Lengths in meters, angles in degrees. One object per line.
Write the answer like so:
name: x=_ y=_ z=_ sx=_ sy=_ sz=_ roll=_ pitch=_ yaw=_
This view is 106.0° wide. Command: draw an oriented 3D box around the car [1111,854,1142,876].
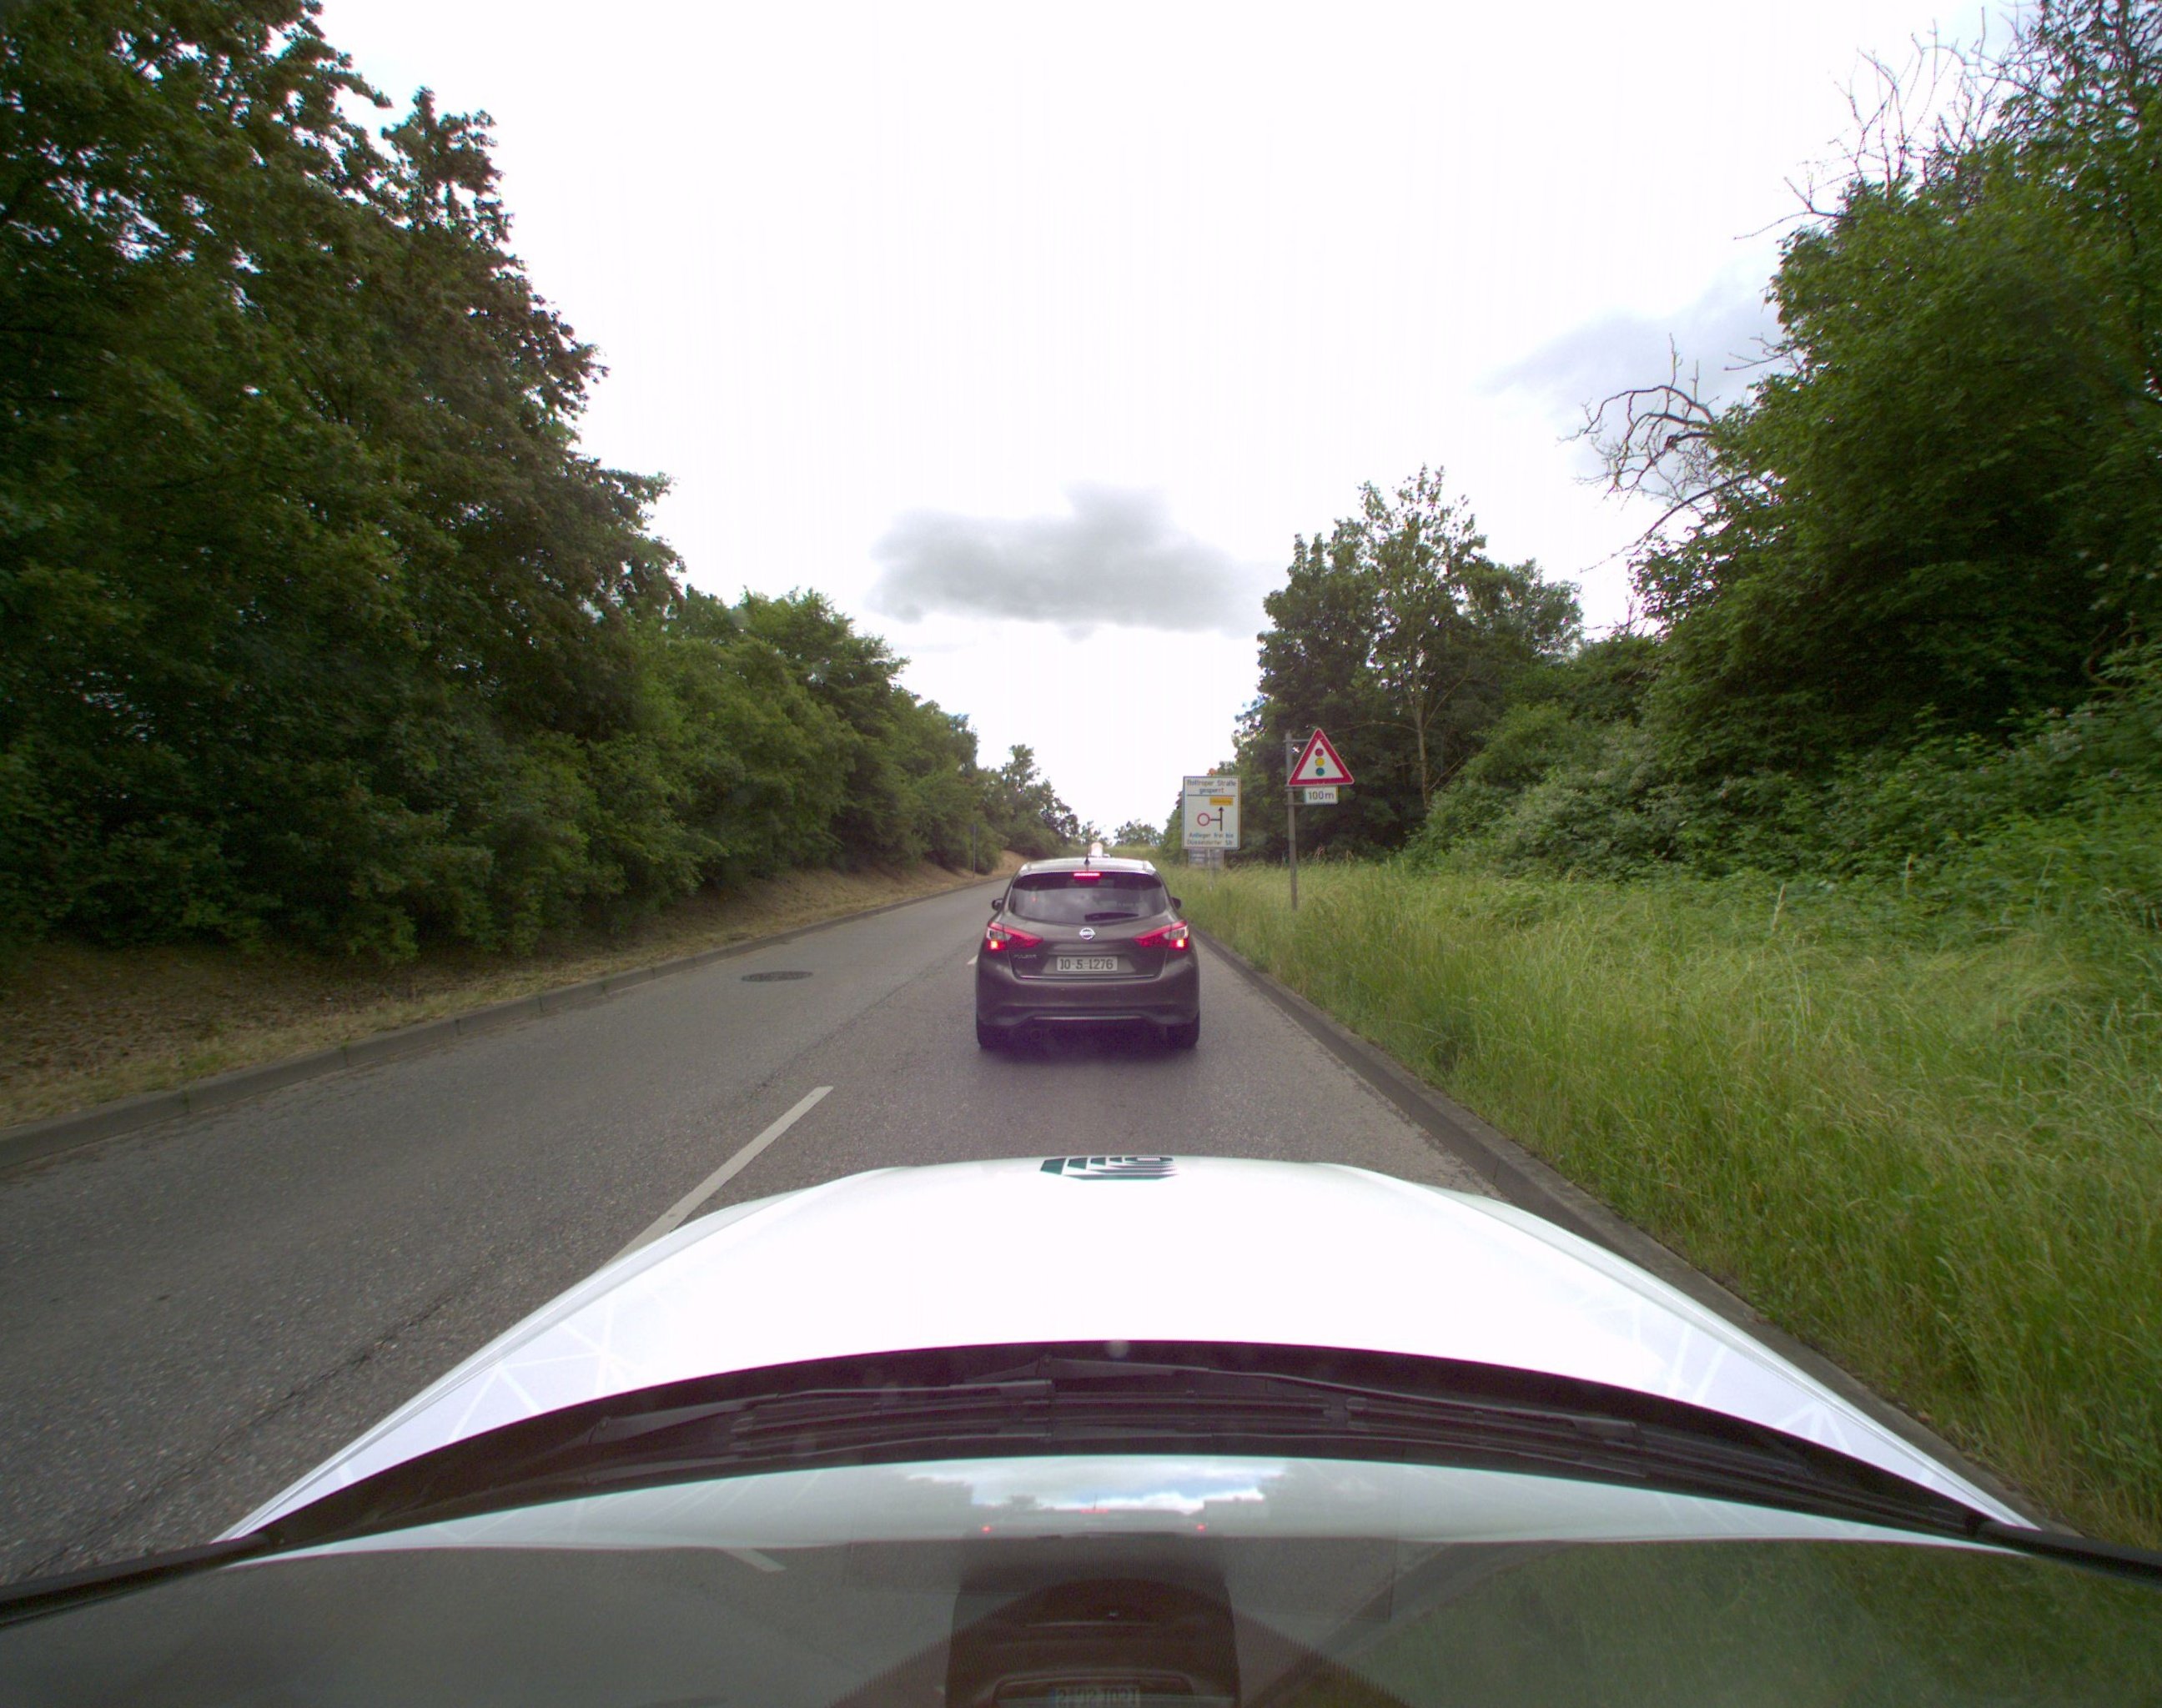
car: x=3.471 y=0.830 z=61.736 sx=1.724 sy=1.526 sz=3.654 roll=-2 pitch=0 yaw=12

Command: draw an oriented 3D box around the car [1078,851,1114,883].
car: x=0.743 y=0.638 z=41.629 sx=1.730 sy=1.526 sz=3.543 roll=-1 pitch=0 yaw=0

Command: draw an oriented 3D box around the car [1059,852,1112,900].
car: x=0.228 y=0.746 z=28.869 sx=1.729 sy=1.556 sz=3.545 roll=-1 pitch=0 yaw=2

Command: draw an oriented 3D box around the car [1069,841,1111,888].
car: x=0.417 y=0.425 z=35.946 sx=1.729 sy=1.935 sz=3.544 roll=-1 pitch=0 yaw=1

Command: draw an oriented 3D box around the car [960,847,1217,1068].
car: x=0.063 y=0.740 z=7.595 sx=1.824 sy=1.556 sz=3.499 roll=-1 pitch=0 yaw=0

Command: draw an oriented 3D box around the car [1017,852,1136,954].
car: x=-0.005 y=0.764 z=14.513 sx=1.823 sy=1.556 sz=3.626 roll=-1 pitch=0 yaw=2

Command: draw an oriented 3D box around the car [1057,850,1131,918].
car: x=0.369 y=0.715 z=21.094 sx=1.729 sy=1.556 sz=3.545 roll=-1 pitch=0 yaw=2

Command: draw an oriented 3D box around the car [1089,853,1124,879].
car: x=1.637 y=0.735 z=50.512 sx=1.726 sy=1.526 sz=3.650 roll=-1 pitch=0 yaw=8
